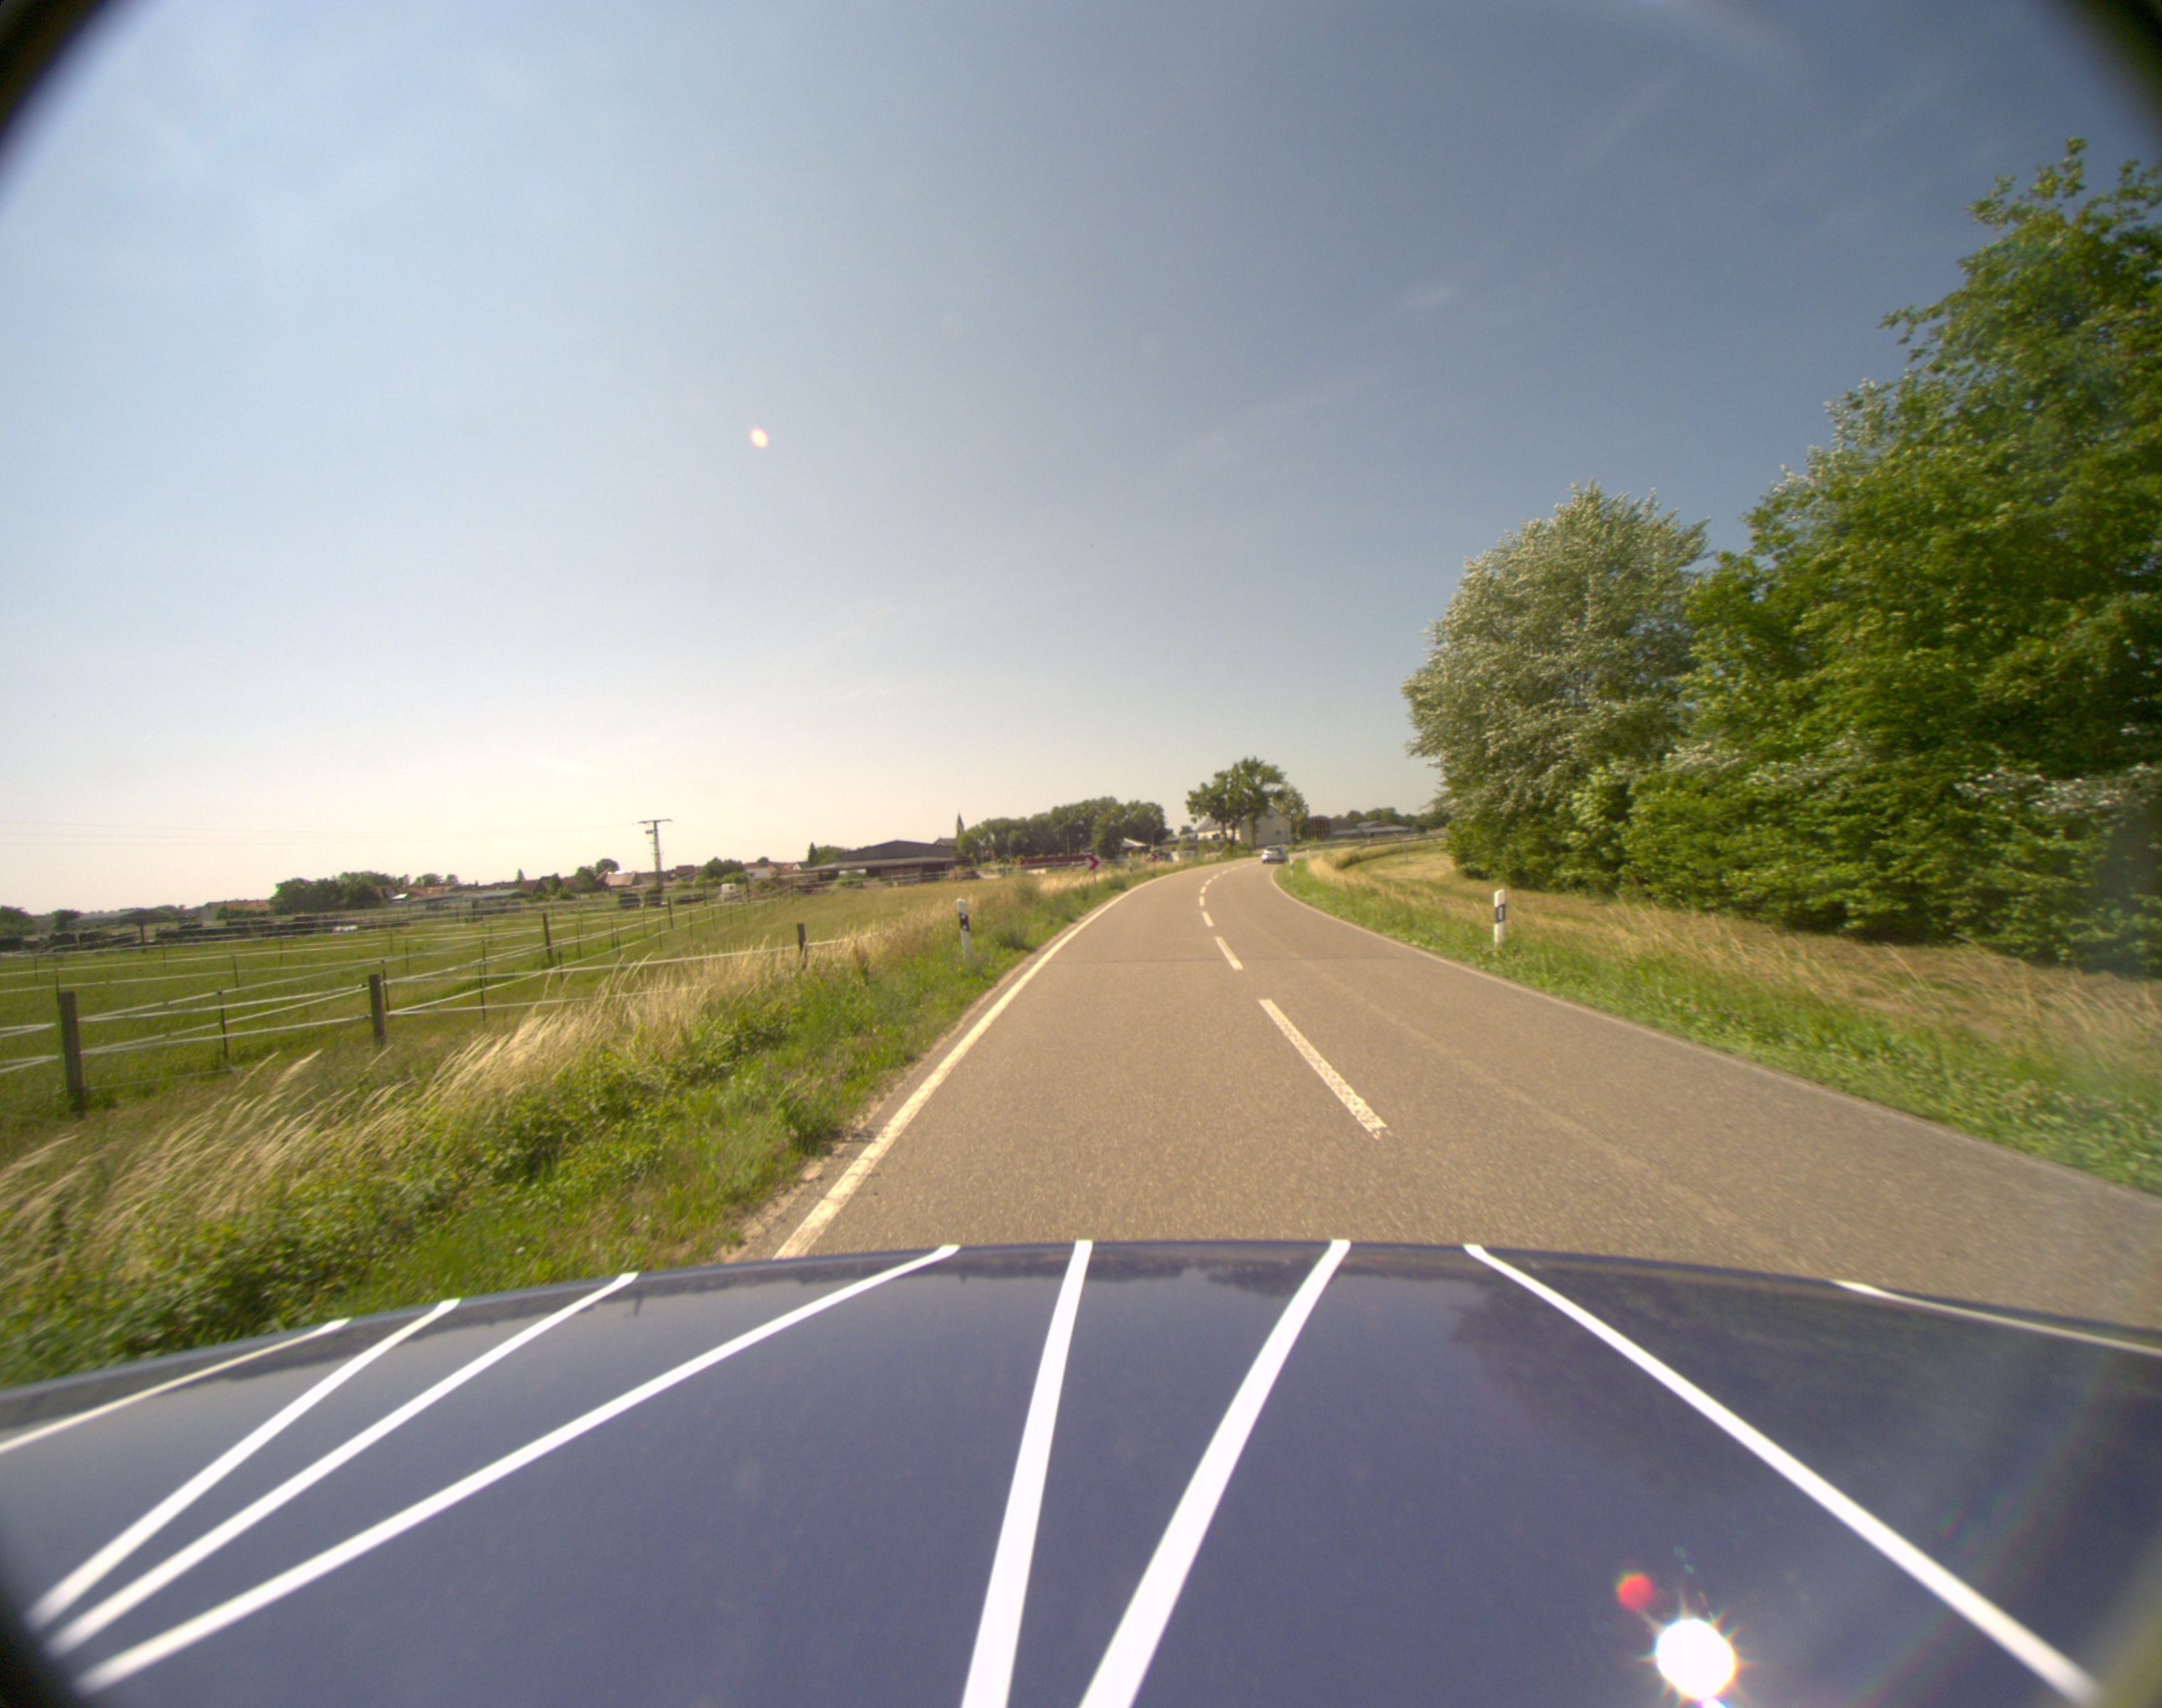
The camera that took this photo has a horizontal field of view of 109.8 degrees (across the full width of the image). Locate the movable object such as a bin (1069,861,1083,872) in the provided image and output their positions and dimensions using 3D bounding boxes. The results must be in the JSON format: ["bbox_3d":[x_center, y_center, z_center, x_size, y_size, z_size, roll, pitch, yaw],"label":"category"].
[{"bbox_3d":[-0.712,1.748,107.589,1.518,1.341,1.371,-5,1,-24],"label":"movable object such as a bin"}]

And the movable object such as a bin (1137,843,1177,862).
[{"bbox_3d":[13.678,-0.233,137.017,6.512,2.753,3.007,-4,-1,-28],"label":"movable object such as a bin"}]

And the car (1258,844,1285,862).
[{"bbox_3d":[15.791,-0.124,62.801,1.785,1.419,4.065,0,1,20],"label":"car"}]
